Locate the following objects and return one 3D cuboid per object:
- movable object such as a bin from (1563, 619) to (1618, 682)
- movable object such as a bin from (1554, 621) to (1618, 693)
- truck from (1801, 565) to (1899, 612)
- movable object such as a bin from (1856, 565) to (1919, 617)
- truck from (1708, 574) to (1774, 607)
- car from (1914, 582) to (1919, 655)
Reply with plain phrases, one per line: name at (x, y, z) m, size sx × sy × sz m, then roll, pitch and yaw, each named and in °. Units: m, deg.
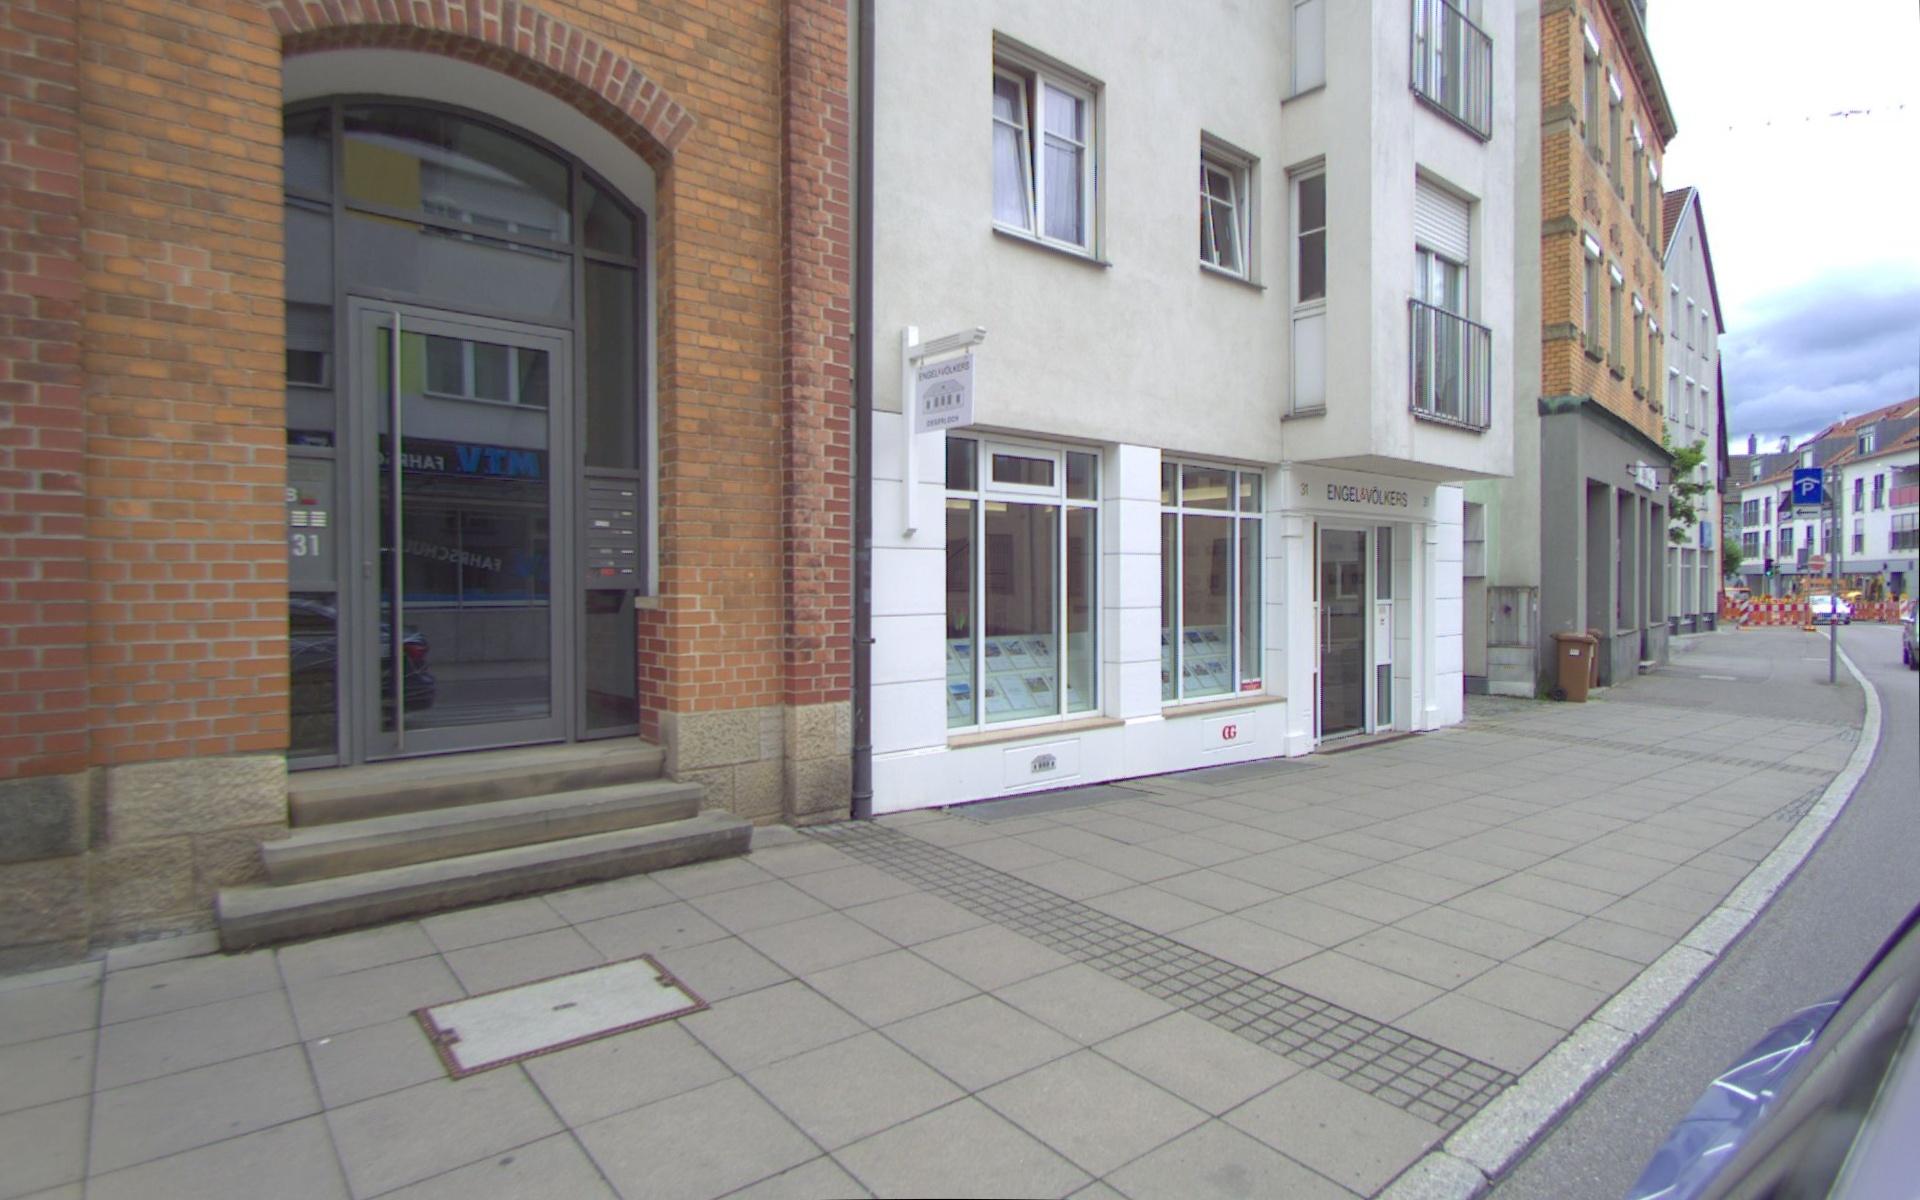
movable object such as a bin at (9.984, 0.784, 16.020) m, size 0.580 × 0.945 × 0.727 m, roll 1°, pitch 1°, yaw 45°
movable object such as a bin at (8.601, 0.768, 13.902) m, size 0.572 × 0.932 × 0.620 m, roll 0°, pitch 1°, yaw -44°
truck at (56.037, -0.698, 63.928) m, size 2.711 × 2.759 × 6.790 m, roll 1°, pitch 0°, yaw 24°
movable object such as a bin at (52.483, -0.561, 56.993) m, size 1.826 × 2.797 × 4.466 m, roll 1°, pitch 2°, yaw 26°
truck at (63.242, -0.737, 82.067) m, size 2.392 × 2.497 × 6.264 m, roll 1°, pitch 0°, yaw 20°
car at (21.666, 0.422, 21.517) m, size 1.852 × 1.576 × 4.286 m, roll 2°, pitch 0°, yaw 42°
